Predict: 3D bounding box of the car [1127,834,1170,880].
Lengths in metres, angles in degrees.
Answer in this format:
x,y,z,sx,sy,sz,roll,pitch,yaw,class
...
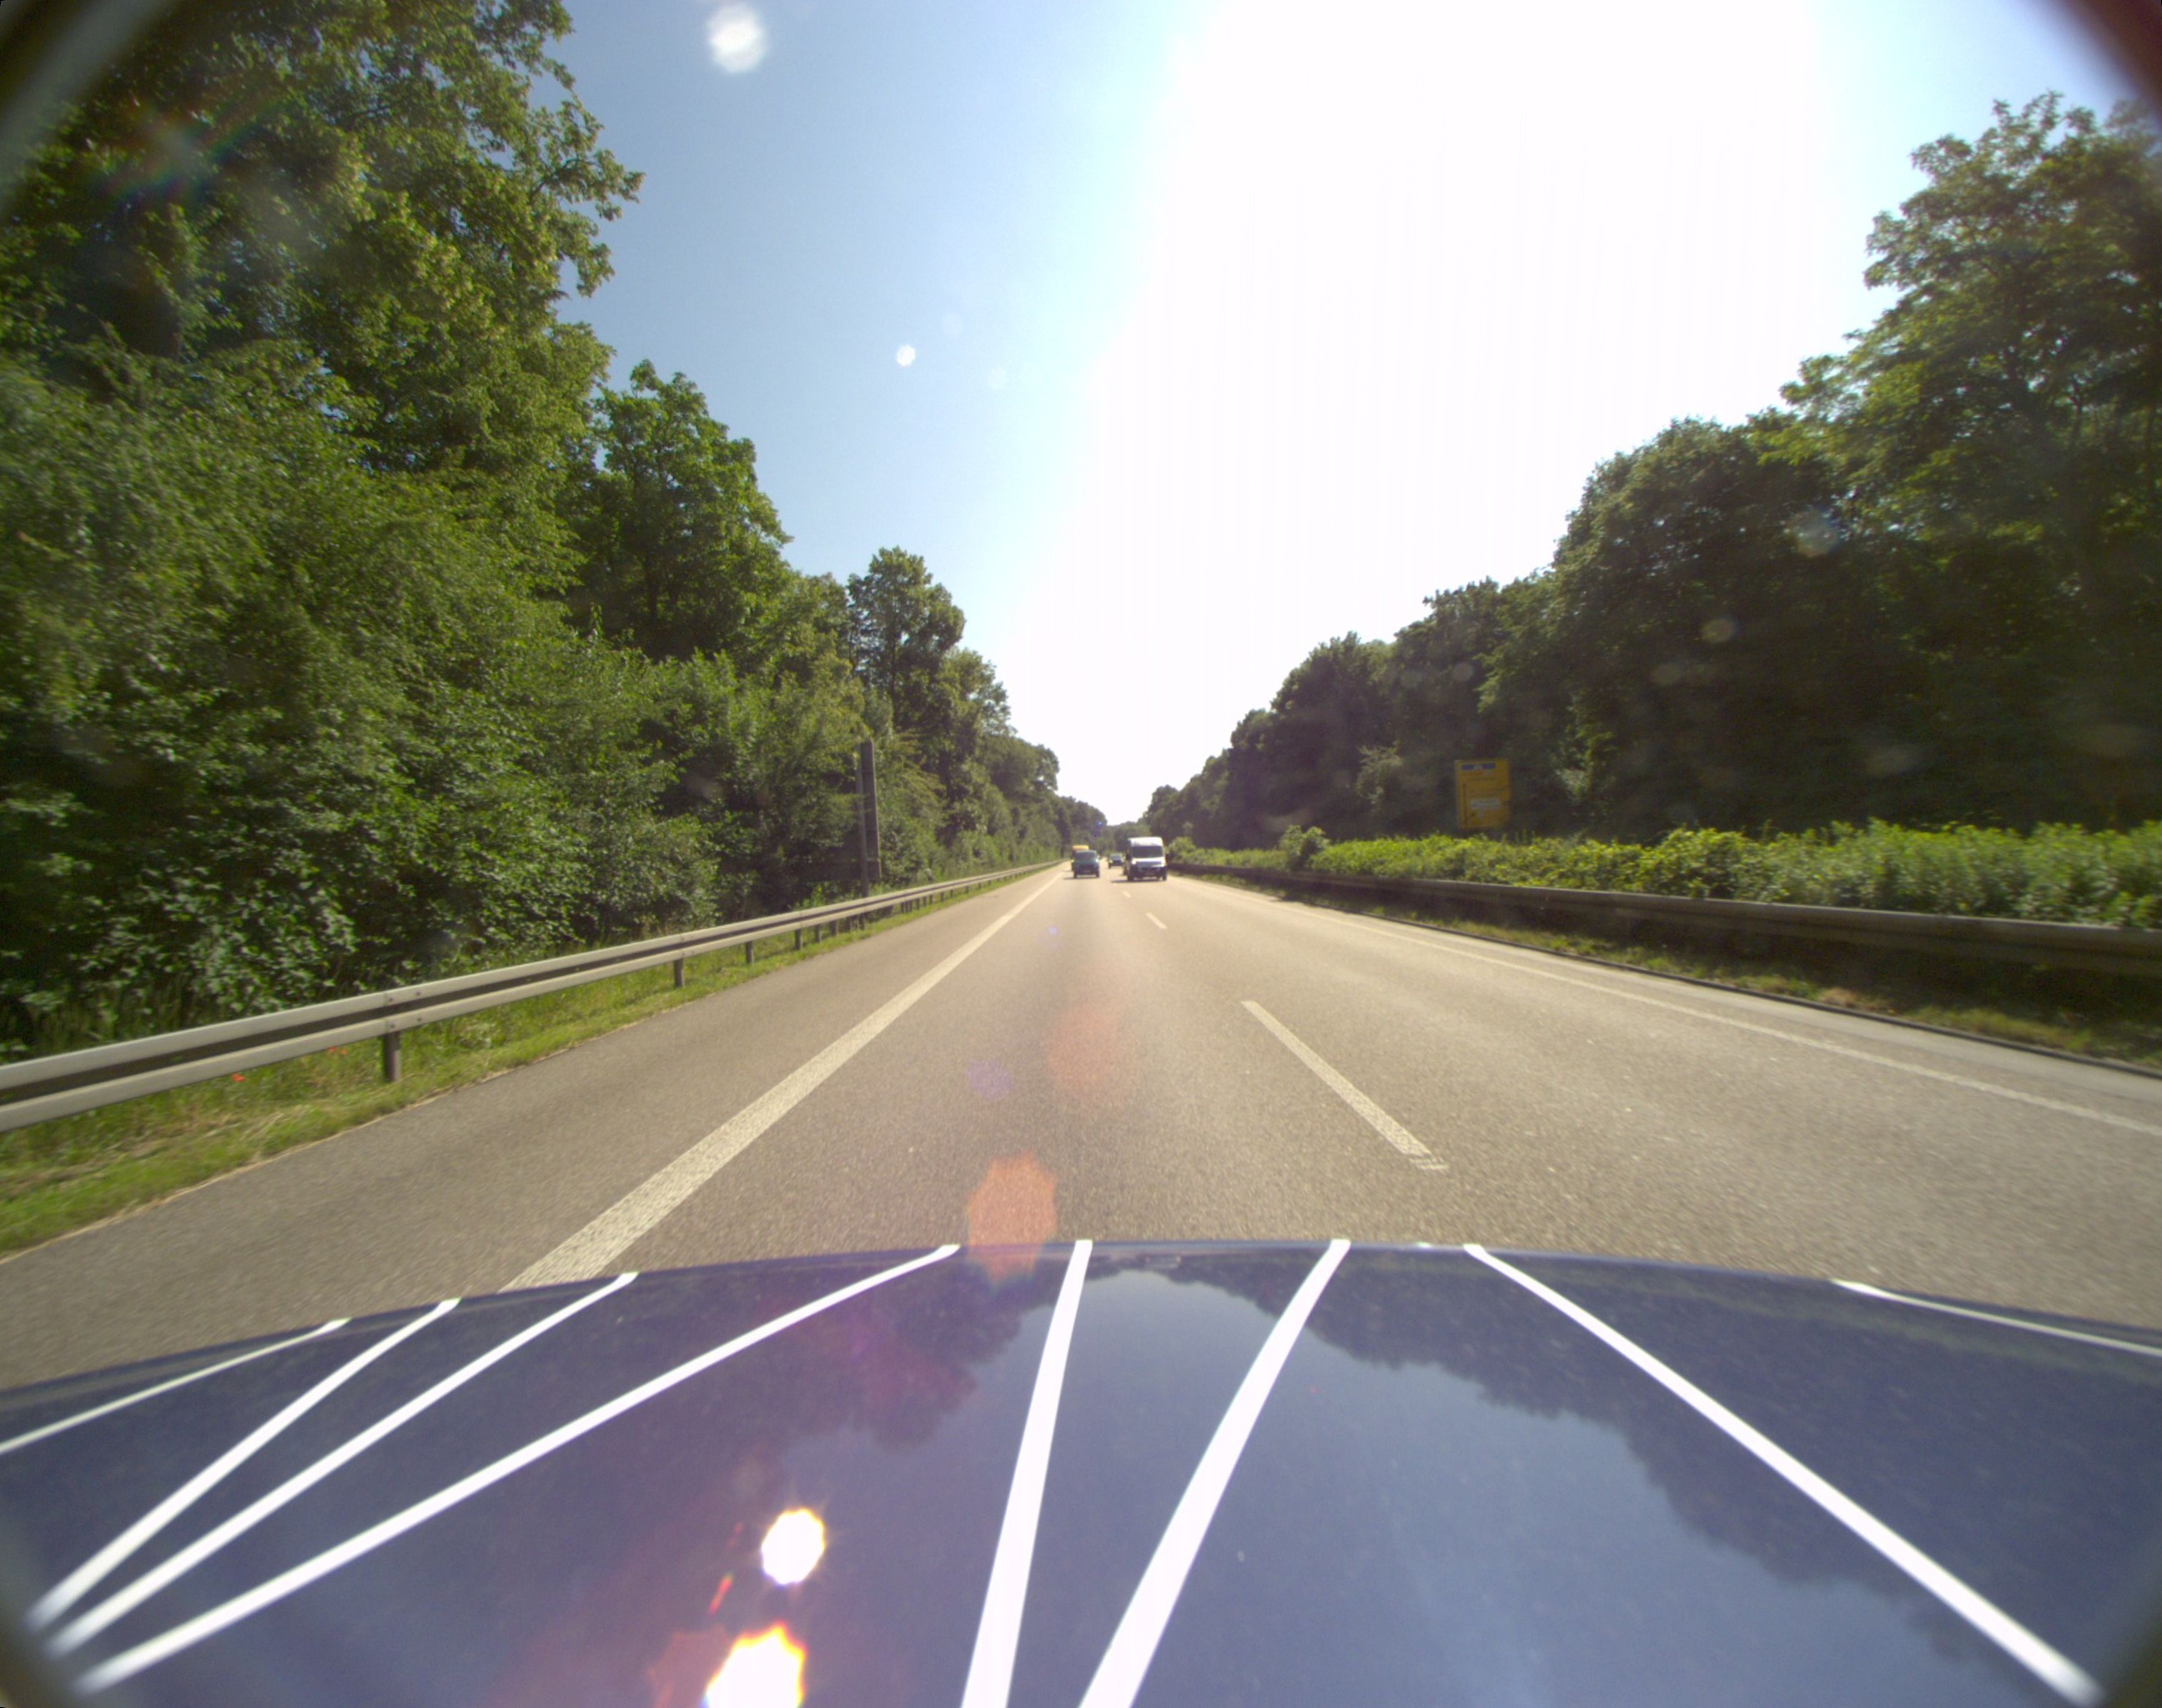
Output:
x,y,z,sx,sy,sz,roll,pitch,yaw,class
3.837,0.131,44.039,2.046,2.429,4.637,-2,1,0,car

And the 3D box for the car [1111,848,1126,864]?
x,y,z,sx,sy,sz,roll,pitch,yaw,class
4.309,0.214,87.016,1.517,1.624,3.611,-2,1,1,car

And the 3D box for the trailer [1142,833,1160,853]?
x,y,z,sx,sy,sz,roll,pitch,yaw,class
16.221,-2.543,176.816,2.836,4.275,13.662,-2,1,0,trailer

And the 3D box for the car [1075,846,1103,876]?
x,y,z,sx,sy,sz,roll,pitch,yaw,class
0.545,0.454,53.719,1.812,1.921,4.581,-2,1,0,car

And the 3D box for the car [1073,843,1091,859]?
x,y,z,sx,sy,sz,roll,pitch,yaw,class
0.131,-0.346,80.828,1.737,1.624,3.899,-2,1,1,car
